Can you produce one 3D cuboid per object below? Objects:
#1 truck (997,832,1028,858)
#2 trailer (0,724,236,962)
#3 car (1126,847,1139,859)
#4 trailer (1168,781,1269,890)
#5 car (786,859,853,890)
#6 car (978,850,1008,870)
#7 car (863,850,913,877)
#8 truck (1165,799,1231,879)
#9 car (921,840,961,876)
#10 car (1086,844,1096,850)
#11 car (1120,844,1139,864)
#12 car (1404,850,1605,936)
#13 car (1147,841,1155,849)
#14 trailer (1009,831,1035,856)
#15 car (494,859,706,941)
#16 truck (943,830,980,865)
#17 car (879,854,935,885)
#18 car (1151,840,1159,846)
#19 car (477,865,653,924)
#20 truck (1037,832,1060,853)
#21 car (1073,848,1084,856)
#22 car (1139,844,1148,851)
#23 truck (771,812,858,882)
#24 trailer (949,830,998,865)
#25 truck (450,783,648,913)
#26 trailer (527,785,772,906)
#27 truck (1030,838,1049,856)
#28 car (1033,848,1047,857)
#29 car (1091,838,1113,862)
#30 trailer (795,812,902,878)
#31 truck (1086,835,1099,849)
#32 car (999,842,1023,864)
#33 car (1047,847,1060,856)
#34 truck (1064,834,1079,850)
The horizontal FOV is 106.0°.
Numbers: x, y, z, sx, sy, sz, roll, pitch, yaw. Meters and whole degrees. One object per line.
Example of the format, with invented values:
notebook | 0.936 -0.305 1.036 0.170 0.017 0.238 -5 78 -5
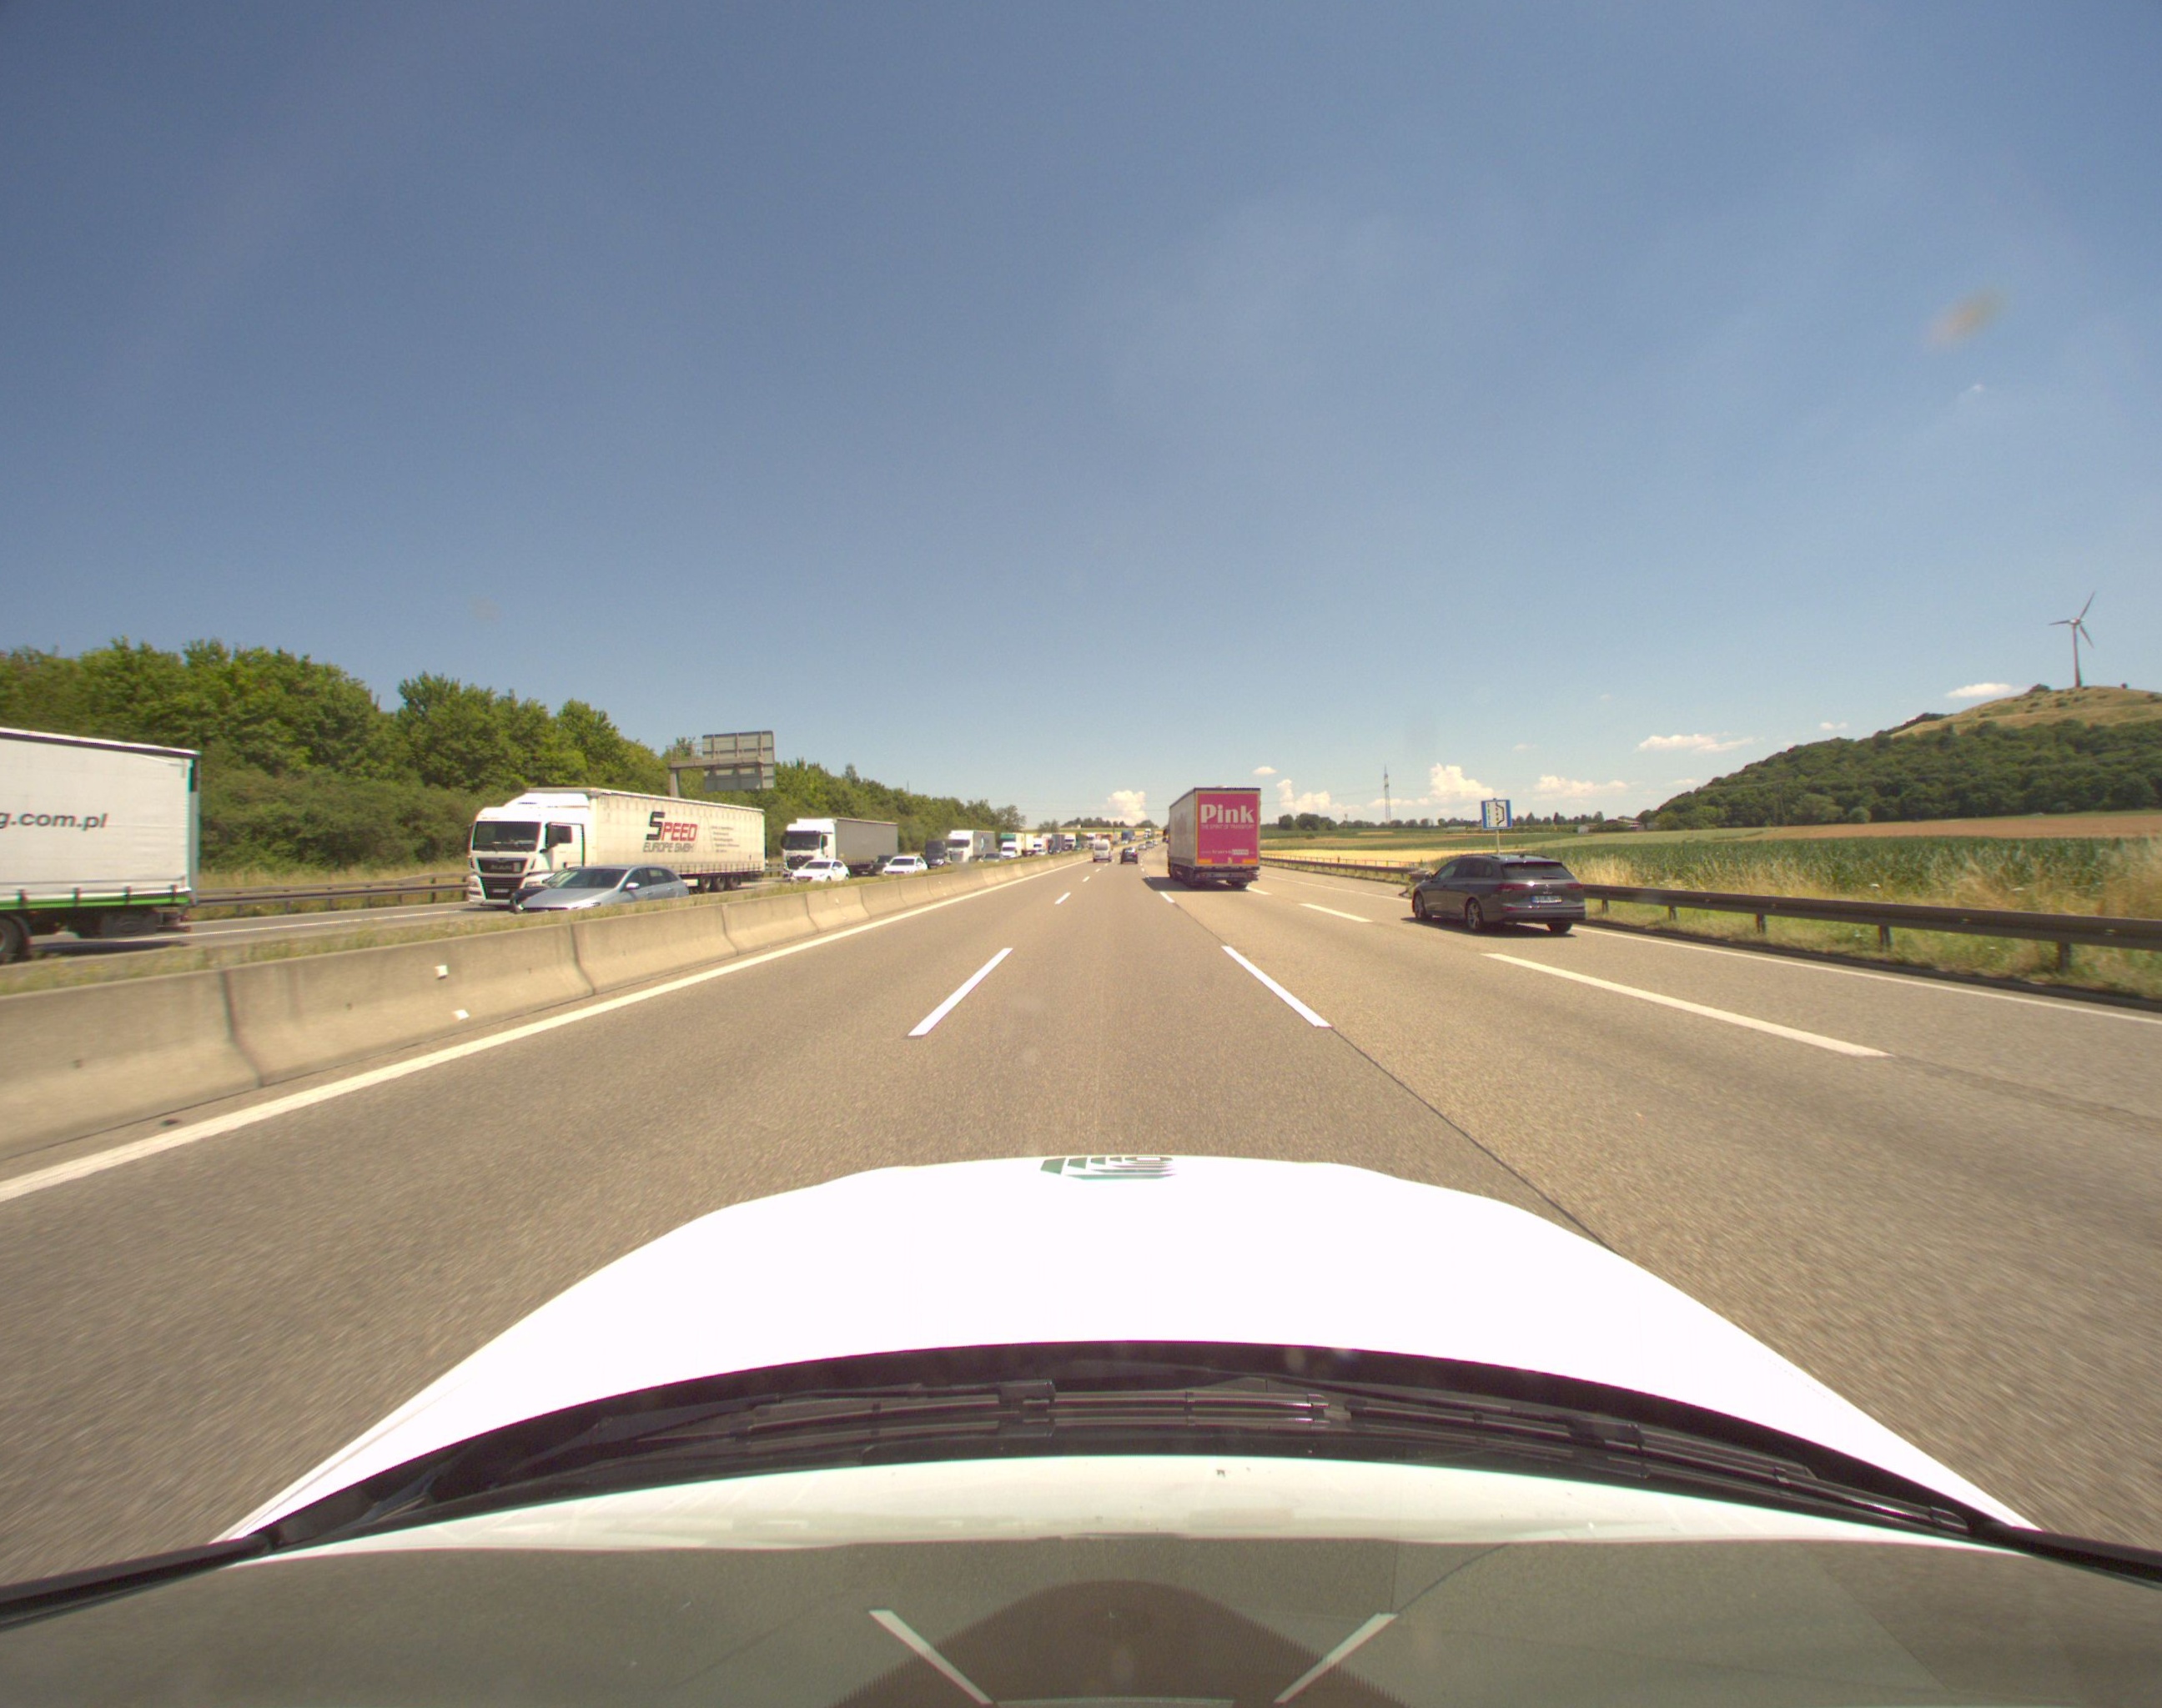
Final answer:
truck | -11.001 -1.569 132.037 2.829 3.898 11.266 -2 1 6
trailer | -19.180 -0.153 9.882 2.892 3.873 13.885 -1 0 2
car | 7.719 -0.189 122.714 1.985 1.750 4.003 0 -1 3
trailer | 5.933 -0.788 37.710 2.907 4.117 13.867 0 1 2
car | -13.278 1.001 41.631 1.874 1.474 4.409 -1 -1 2
car | -7.910 0.530 73.492 1.924 1.688 4.800 -2 0 3
car | -12.998 0.640 55.116 1.985 1.715 4.795 -1 0 2
truck | 6.238 -0.777 44.285 2.905 4.008 6.515 0 1 2
car | -12.471 0.307 72.793 2.229 3.014 6.553 -2 1 1
car | 2.683 -1.826 214.913 1.983 1.527 4.781 -1 1 6
car | 5.031 -0.019 84.402 1.840 1.860 4.208 -1 3 2
car | 8.164 0.696 16.227 1.754 1.471 4.538 0 -1 2
car | 17.657 -2.371 205.829 1.985 1.904 4.004 -1 -1 4
trailer | -10.111 -1.814 141.118 2.905 4.071 8.245 -2 1 6
car | -10.719 0.943 18.652 1.986 1.578 4.597 -1 0 2
truck | -14.048 -0.781 96.504 2.840 4.036 6.612 -1 1 4
car | -9.553 0.843 45.090 1.986 1.643 4.408 -1 -1 2
car | 21.690 -3.170 237.962 1.983 1.551 4.010 0 3 7
car | -14.802 1.091 23.776 1.869 1.434 4.927 0 0 2
truck | -6.673 -2.507 170.471 2.985 4.233 10.756 -1 1 7
car | -0.545 -0.484 183.074 1.984 1.545 5.502 -1 1 5
car | 13.923 -1.452 182.238 1.984 1.585 4.005 -2 0 4
truck | -16.971 -0.418 52.364 2.948 4.210 6.612 0 0 4
trailer | -13.465 -0.834 103.596 2.888 4.086 14.467 -1 1 5
truck | -18.196 -0.210 28.429 2.744 4.042 6.102 0 0 2
trailer | -17.941 -0.347 35.847 2.799 4.278 13.878 0 0 3
truck | -7.904 -1.393 157.213 2.526 3.207 7.601 -1 1 5
car | -6.779 -0.218 135.569 1.744 1.460 4.863 0 -1 4
car | 2.466 -0.409 93.381 2.169 2.625 4.679 -1 -1 5
trailer | -16.575 -0.581 59.674 2.969 4.206 14.206 0 0 3
truck | 3.546 -3.698 243.989 3.018 4.081 6.331 -1 1 8
car | -9.222 -0.080 107.231 2.130 2.786 6.631 0 -1 4
car | -5.054 -0.421 151.109 1.853 1.641 5.120 -1 -1 4
truck | -2.439 -2.981 202.364 2.885 3.876 6.191 -1 1 7
